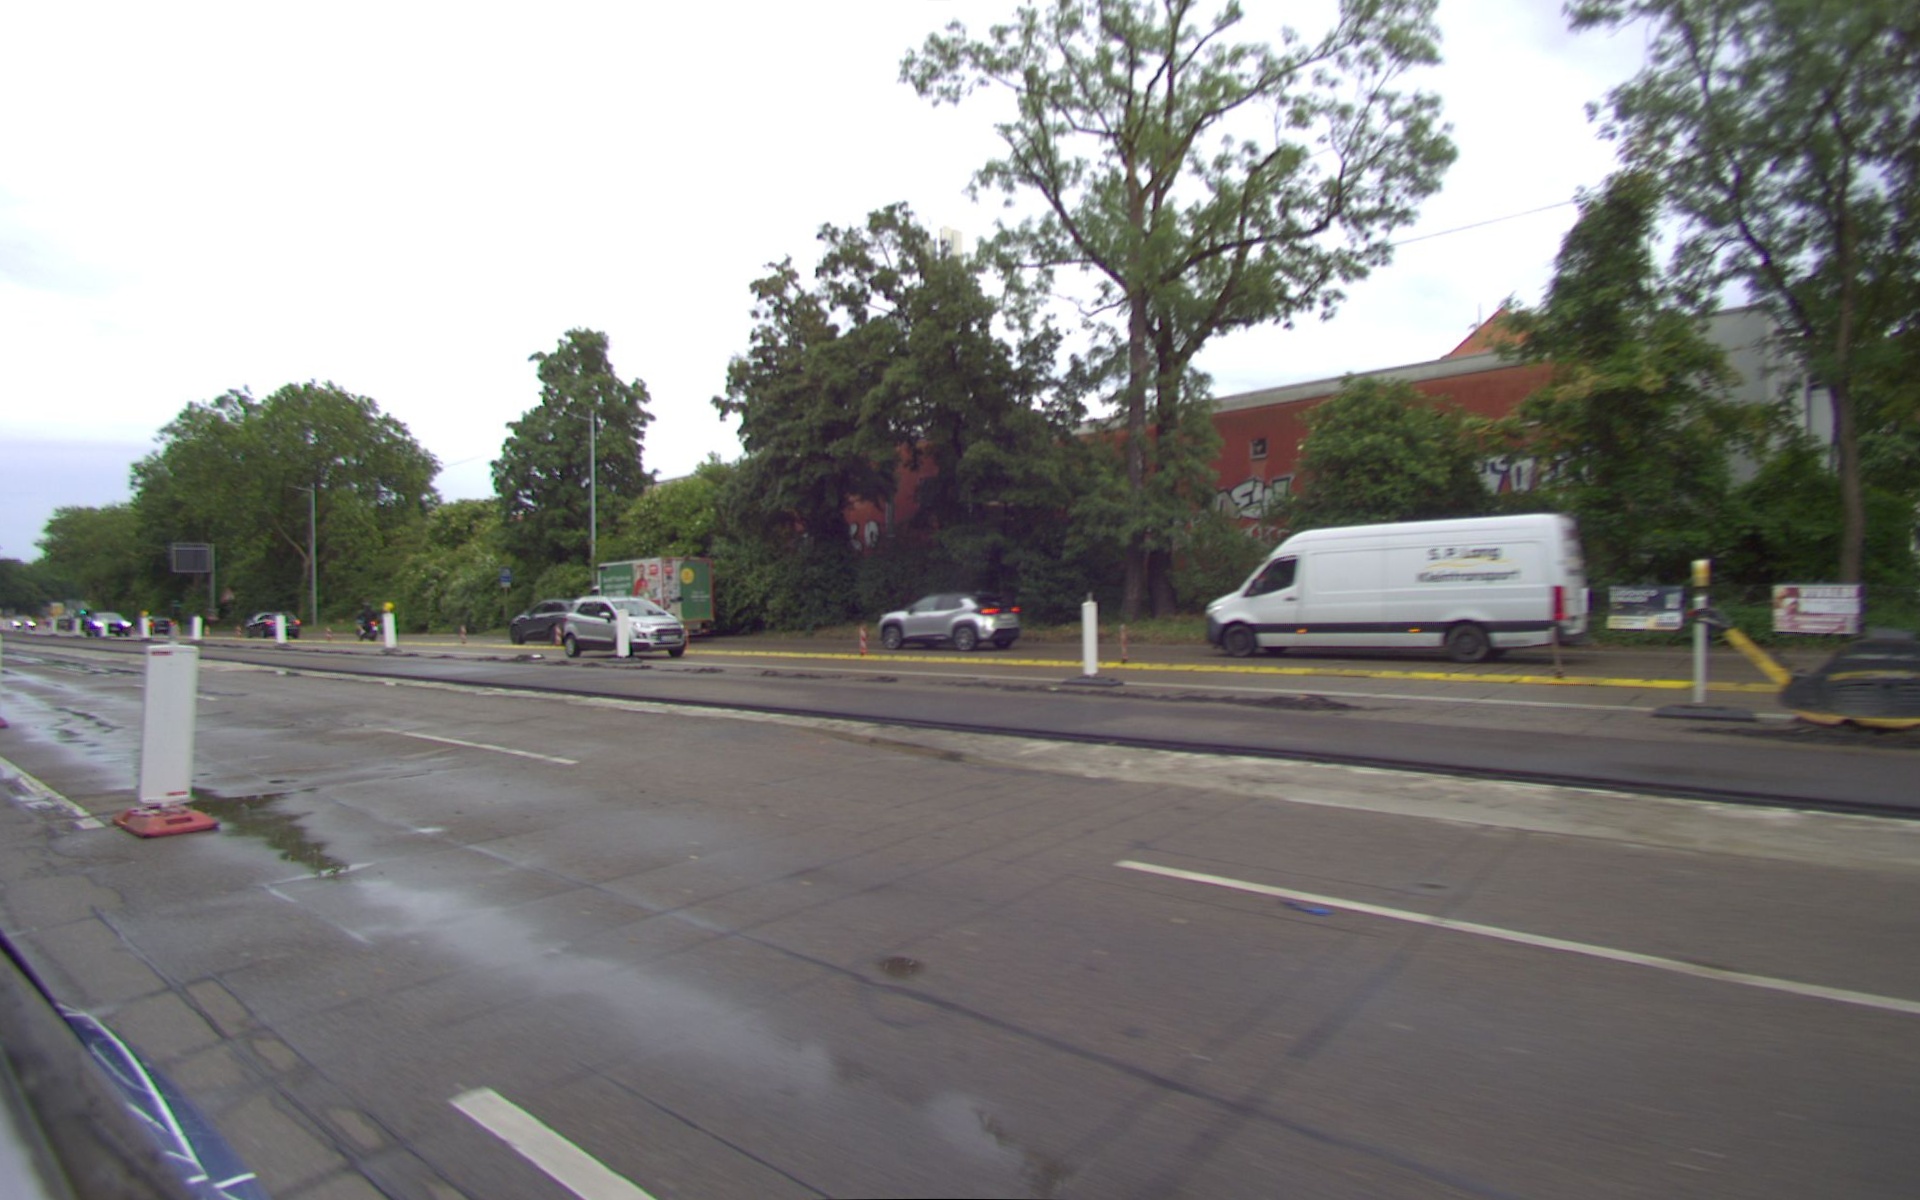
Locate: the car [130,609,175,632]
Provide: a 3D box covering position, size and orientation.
[{"bbox_3d":[-61.748,1.593,77.383,4.395,1.563,1.870,-1,3,41],"label":"car"}]

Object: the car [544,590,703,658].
[{"bbox_3d":[-8.916,0.617,26.658,4.358,1.575,1.871,-1,2,39],"label":"car"}]

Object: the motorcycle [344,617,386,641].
[{"bbox_3d":[-27.047,1.299,45.980,2.592,0.996,0.800,-1,2,41],"label":"motorcycle"}]

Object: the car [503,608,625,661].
[{"bbox_3d":[-13.967,1.165,35.582,4.804,1.706,1.973,-1,0,41],"label":"car"}]

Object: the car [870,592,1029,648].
[{"bbox_3d":[-0.332,0.510,26.781,4.079,1.375,1.698,-1,0,40],"label":"car"}]

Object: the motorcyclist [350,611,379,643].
[{"bbox_3d":[-27.013,1.213,45.939,0.975,1.421,0.805,-1,2,41],"label":"motorcyclist"}]

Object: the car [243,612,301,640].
[{"bbox_3d":[-38.613,1.436,56.774,4.105,1.453,1.670,-1,1,41],"label":"car"}]

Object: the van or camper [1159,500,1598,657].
[{"bbox_3d":[7.846,-0.363,19.920,7.727,2.573,1.973,-1,2,42],"label":"van or camper"}]

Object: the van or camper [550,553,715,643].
[{"bbox_3d":[-12.400,-0.071,37.920,7.447,3.085,2.274,-1,1,41],"label":"van or camper"}]
